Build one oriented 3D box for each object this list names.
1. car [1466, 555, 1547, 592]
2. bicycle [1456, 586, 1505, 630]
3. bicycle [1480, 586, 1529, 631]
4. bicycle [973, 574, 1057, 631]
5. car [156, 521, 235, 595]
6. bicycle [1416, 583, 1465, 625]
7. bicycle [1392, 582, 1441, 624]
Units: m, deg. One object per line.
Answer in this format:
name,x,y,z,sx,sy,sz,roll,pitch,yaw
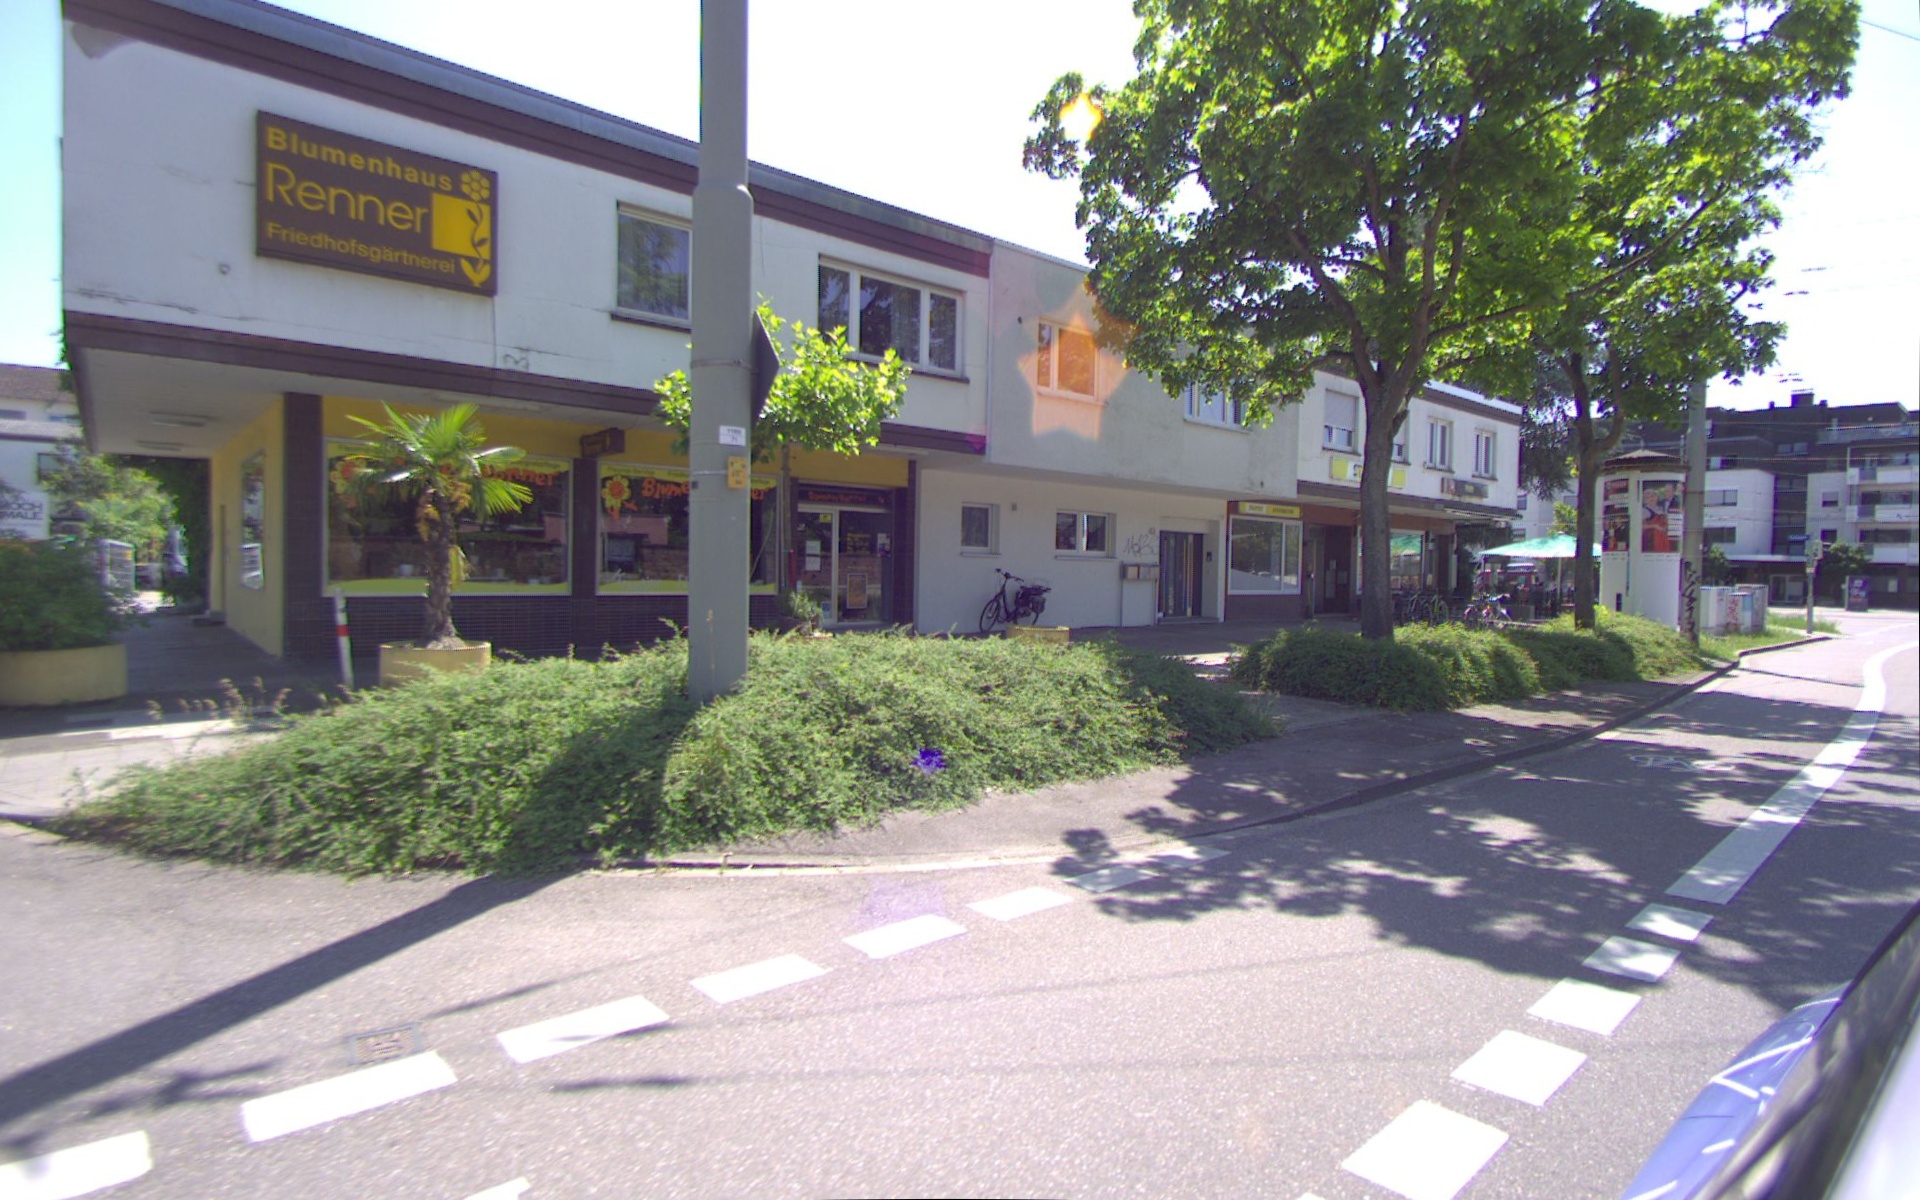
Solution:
car,42.600,-2.066,78.983,1.966,2.761,5.199,0,2,-41
bicycle,13.368,0.180,25.977,0.542,1.081,1.990,2,2,44
bicycle,13.762,0.183,25.542,0.542,1.081,1.990,2,2,44
bicycle,1.103,0.032,19.924,0.542,1.081,1.870,2,2,44
car,-27.492,-1.483,36.326,1.965,2.443,5.082,0,2,-41
bicycle,12.770,0.087,26.887,0.542,1.081,1.990,2,2,44
bicycle,12.323,0.070,27.294,0.542,1.081,1.990,2,2,44
